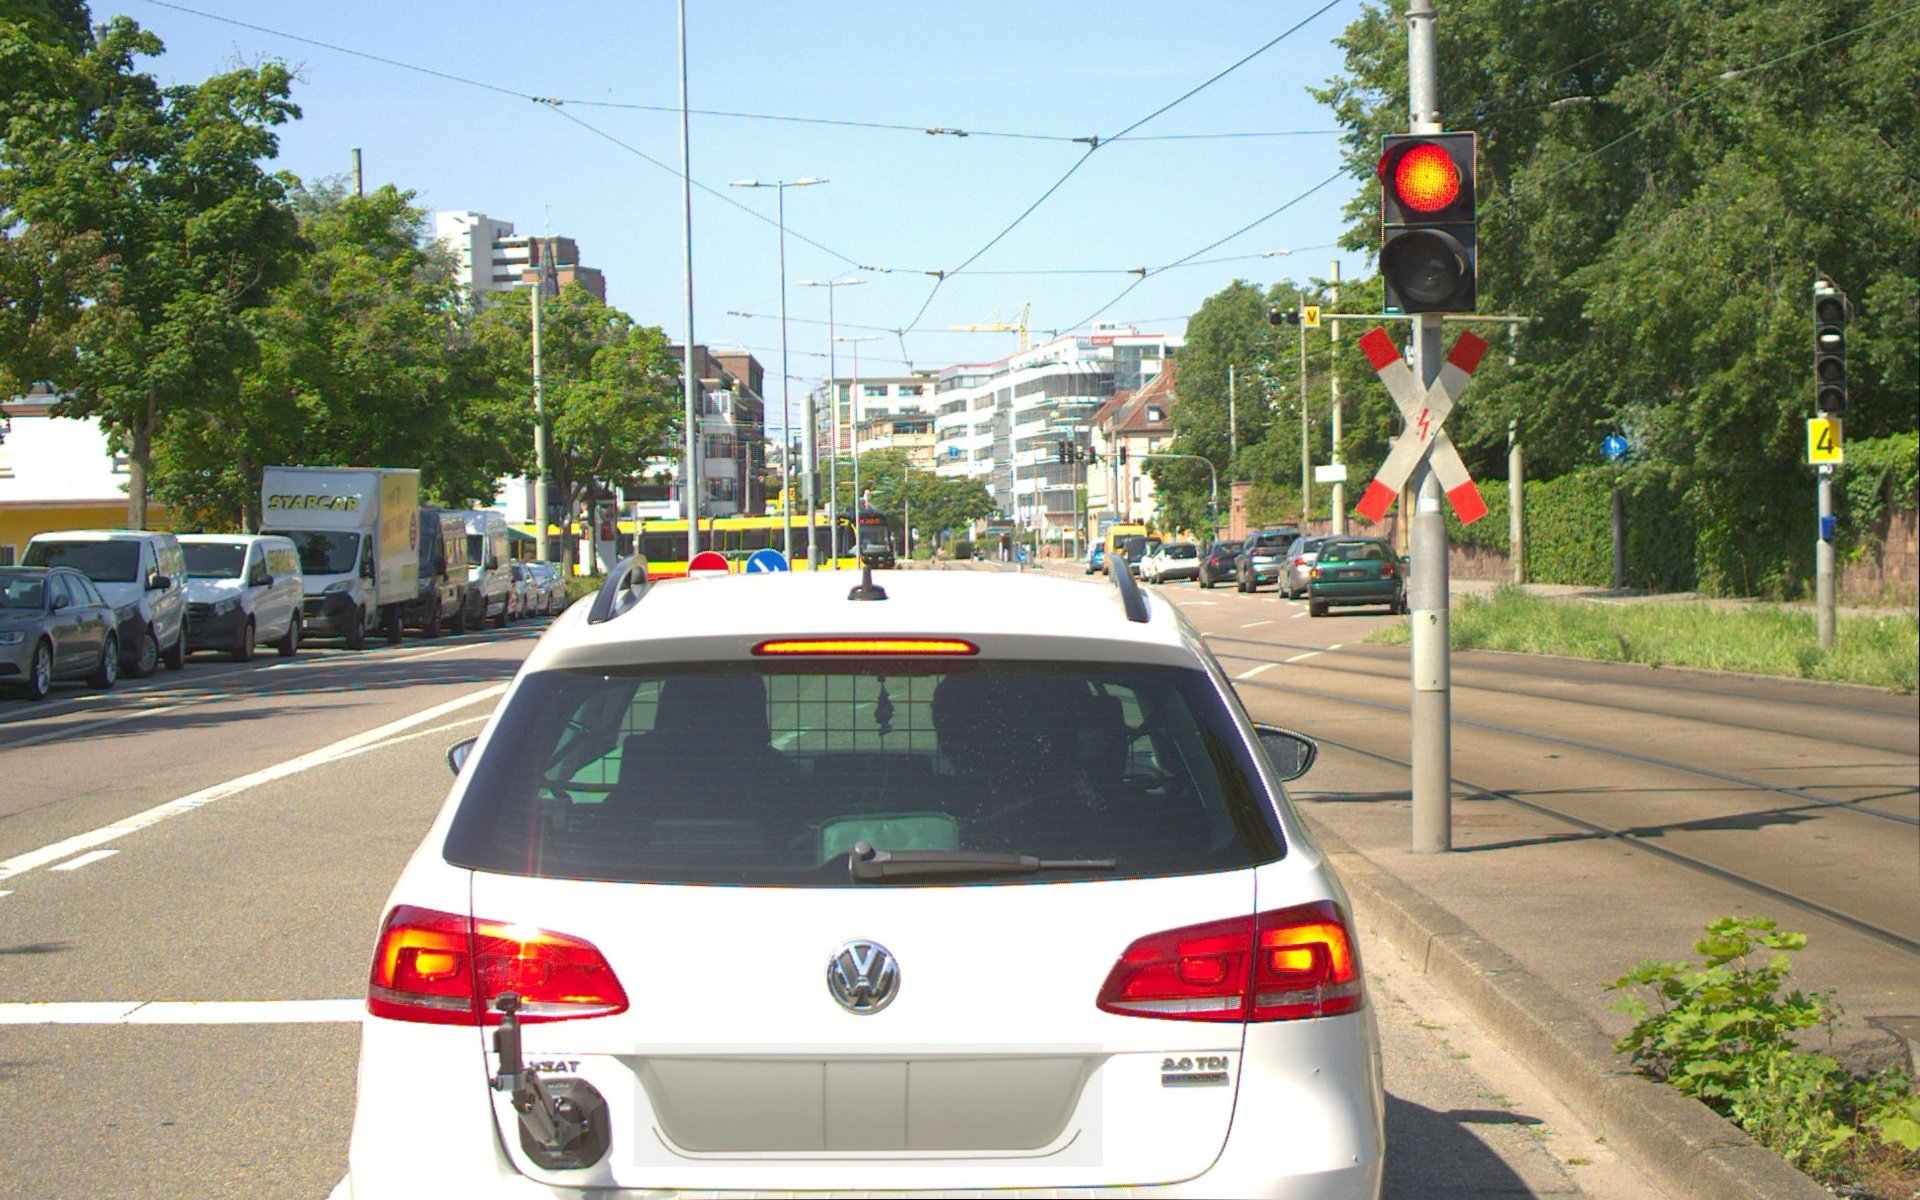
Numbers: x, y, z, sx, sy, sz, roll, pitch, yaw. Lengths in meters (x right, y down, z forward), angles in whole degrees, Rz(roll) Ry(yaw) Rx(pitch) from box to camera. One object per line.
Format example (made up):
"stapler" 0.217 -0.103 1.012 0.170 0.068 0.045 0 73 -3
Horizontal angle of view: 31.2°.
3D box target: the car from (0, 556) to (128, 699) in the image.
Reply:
"car" -10.962 0.291 39.370 1.843 1.511 4.197 -2 1 -1

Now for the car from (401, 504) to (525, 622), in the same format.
"car" -11.020 -0.856 76.601 1.843 2.486 5.857 -1 1 0

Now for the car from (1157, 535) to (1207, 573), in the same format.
"car" 8.195 -1.686 127.036 1.581 1.341 3.454 1 0 -1

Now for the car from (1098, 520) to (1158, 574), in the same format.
"car" 7.932 -2.490 162.847 2.463 2.490 5.910 1 0 -1

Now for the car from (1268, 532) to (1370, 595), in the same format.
"car" 8.385 -0.868 80.626 1.861 1.412 4.325 1 1 -1

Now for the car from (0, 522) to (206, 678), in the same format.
"car" -11.448 -0.046 46.144 1.843 1.930 5.195 -2 1 -4

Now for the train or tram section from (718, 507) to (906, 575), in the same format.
"train or tram section" -7.343 -2.902 168.741 2.302 3.241 11.268 1 0 -44

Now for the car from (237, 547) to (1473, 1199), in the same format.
"car" -0.202 0.636 6.914 1.768 1.441 3.913 1 1 -1

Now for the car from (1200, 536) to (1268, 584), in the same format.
"car" 8.391 -1.246 105.616 1.746 1.403 3.913 1 1 0

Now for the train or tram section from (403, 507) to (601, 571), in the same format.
"train or tram section" -24.191 -3.246 181.148 11.000 3.241 2.305 1 0 28

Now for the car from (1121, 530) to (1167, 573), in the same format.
"car" 7.830 -2.064 146.587 1.691 1.806 3.454 1 0 -1

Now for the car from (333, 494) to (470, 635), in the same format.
"car" -11.099 -0.732 68.613 1.843 2.659 5.003 -1 1 0

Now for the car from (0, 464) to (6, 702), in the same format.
"car" -11.204 -0.132 33.063 2.059 2.492 6.307 1 1 2

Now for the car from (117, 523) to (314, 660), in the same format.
"car" -11.327 -0.173 52.640 1.843 1.954 5.134 -1 1 0

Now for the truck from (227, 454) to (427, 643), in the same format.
"truck" -11.175 -0.931 61.248 2.356 3.112 6.892 -2 1 -1

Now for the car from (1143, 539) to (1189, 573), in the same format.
"car" 8.244 -1.761 137.922 1.581 1.341 3.454 1 0 -1

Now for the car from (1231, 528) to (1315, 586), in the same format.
"car" 8.444 -1.189 92.976 1.861 1.508 3.913 1 1 -1

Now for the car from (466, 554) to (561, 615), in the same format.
"car" -11.158 -0.409 86.142 1.843 1.428 4.038 -2 1 -1

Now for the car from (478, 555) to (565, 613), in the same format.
"car" -11.778 -0.446 92.510 1.843 1.428 4.038 -2 1 -1

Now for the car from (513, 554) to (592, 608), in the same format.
"car" -11.506 -0.559 97.284 1.780 1.428 4.038 -2 1 -1

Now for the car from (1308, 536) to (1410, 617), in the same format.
"car" 7.136 -0.446 61.524 1.746 1.383 3.912 1 1 6

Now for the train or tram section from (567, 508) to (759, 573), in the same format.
"train or tram section" -15.231 -3.071 175.641 10.794 3.241 2.304 1 0 35

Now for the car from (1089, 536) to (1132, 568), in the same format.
"car" 7.764 -2.443 177.268 1.993 1.590 4.000 1 0 0
